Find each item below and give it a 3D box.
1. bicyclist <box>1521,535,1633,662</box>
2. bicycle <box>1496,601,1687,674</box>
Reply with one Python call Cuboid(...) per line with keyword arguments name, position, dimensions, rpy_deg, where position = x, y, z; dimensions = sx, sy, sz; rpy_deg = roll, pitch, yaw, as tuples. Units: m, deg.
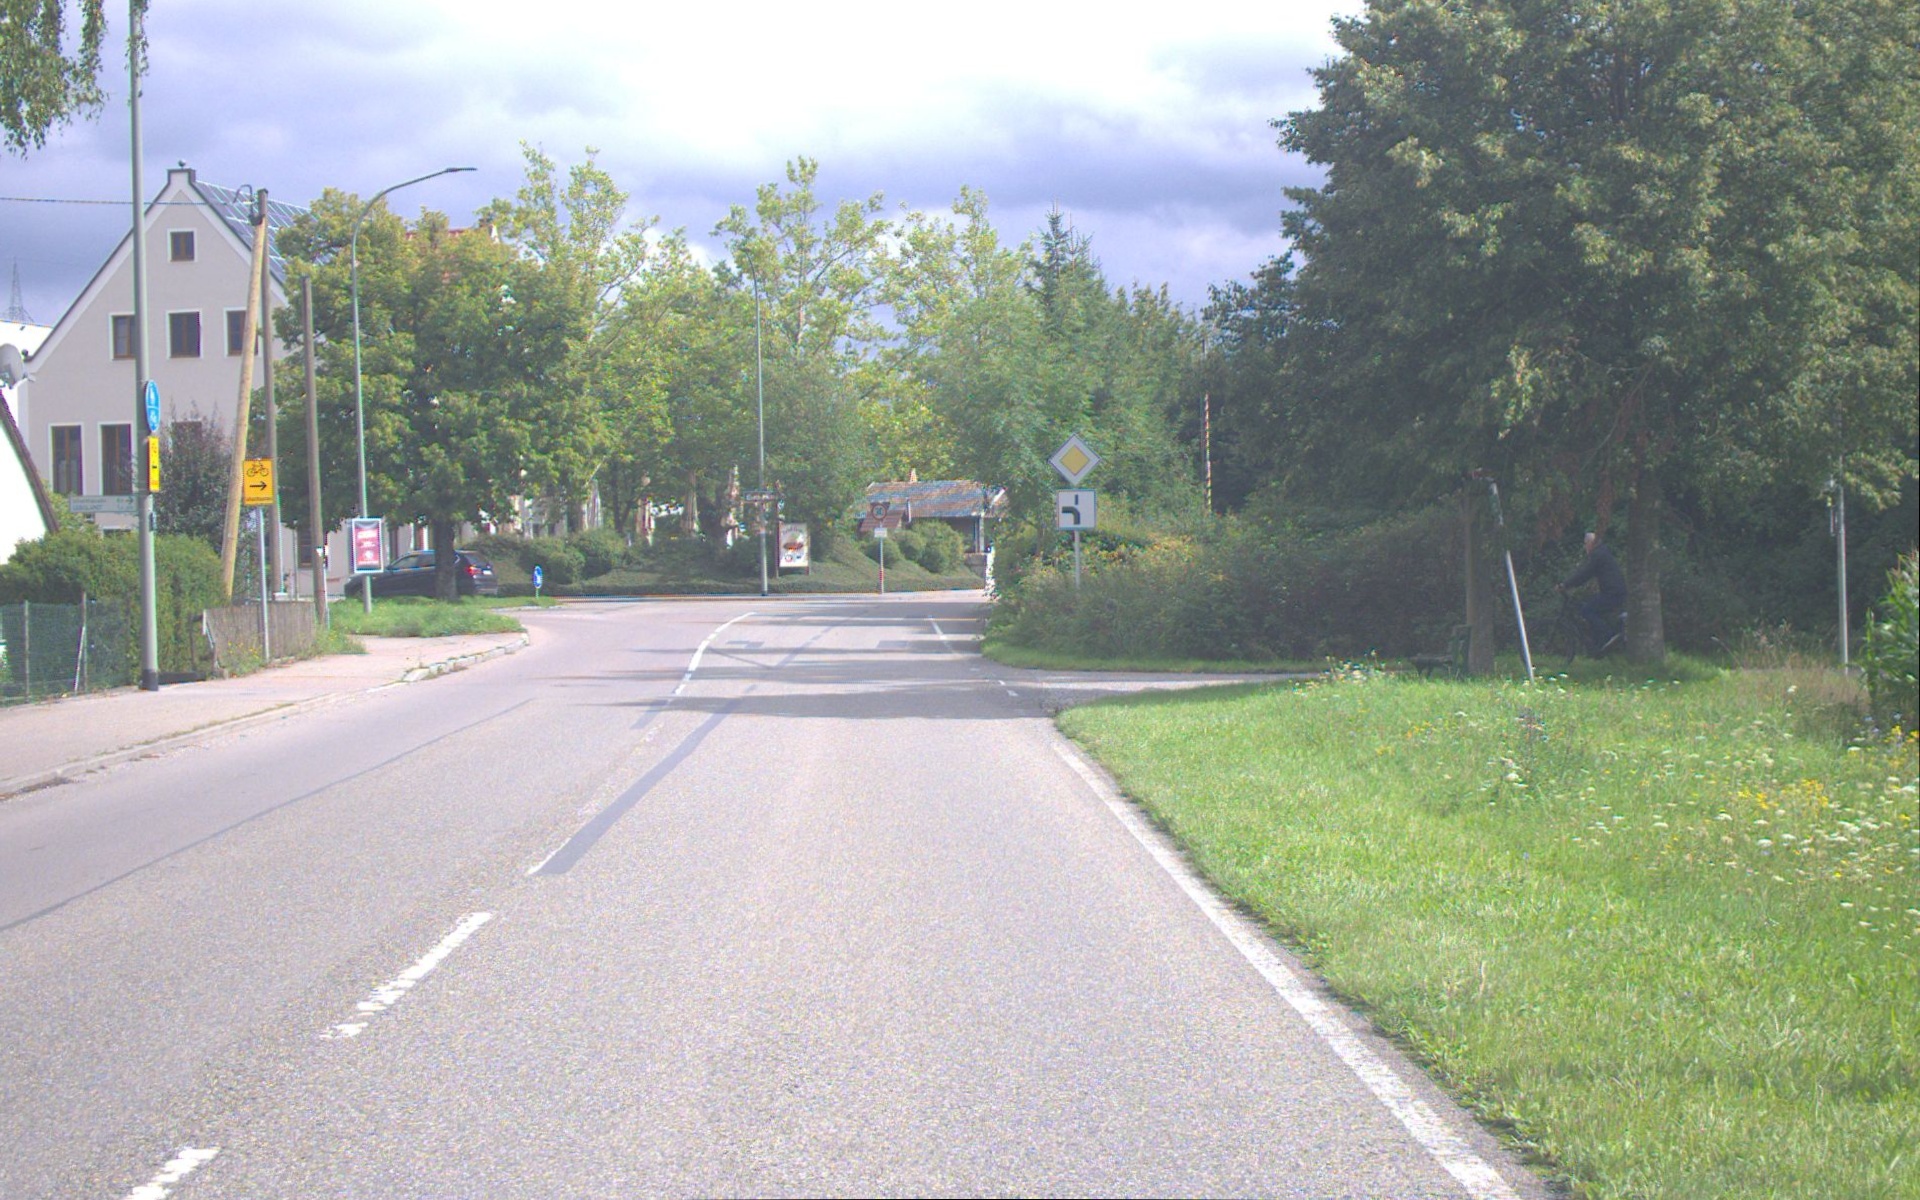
Cuboid(name="bicyclist", position=(7.796, -0.028, 43.461), dimensions=(1.017, 1.580, 1.054), rpy_deg=(0, 1, -16))
Cuboid(name="bicycle", position=(7.976, 0.463, 43.458), dimensions=(2.115, 0.861, 1.054), rpy_deg=(-1, 1, -15))
